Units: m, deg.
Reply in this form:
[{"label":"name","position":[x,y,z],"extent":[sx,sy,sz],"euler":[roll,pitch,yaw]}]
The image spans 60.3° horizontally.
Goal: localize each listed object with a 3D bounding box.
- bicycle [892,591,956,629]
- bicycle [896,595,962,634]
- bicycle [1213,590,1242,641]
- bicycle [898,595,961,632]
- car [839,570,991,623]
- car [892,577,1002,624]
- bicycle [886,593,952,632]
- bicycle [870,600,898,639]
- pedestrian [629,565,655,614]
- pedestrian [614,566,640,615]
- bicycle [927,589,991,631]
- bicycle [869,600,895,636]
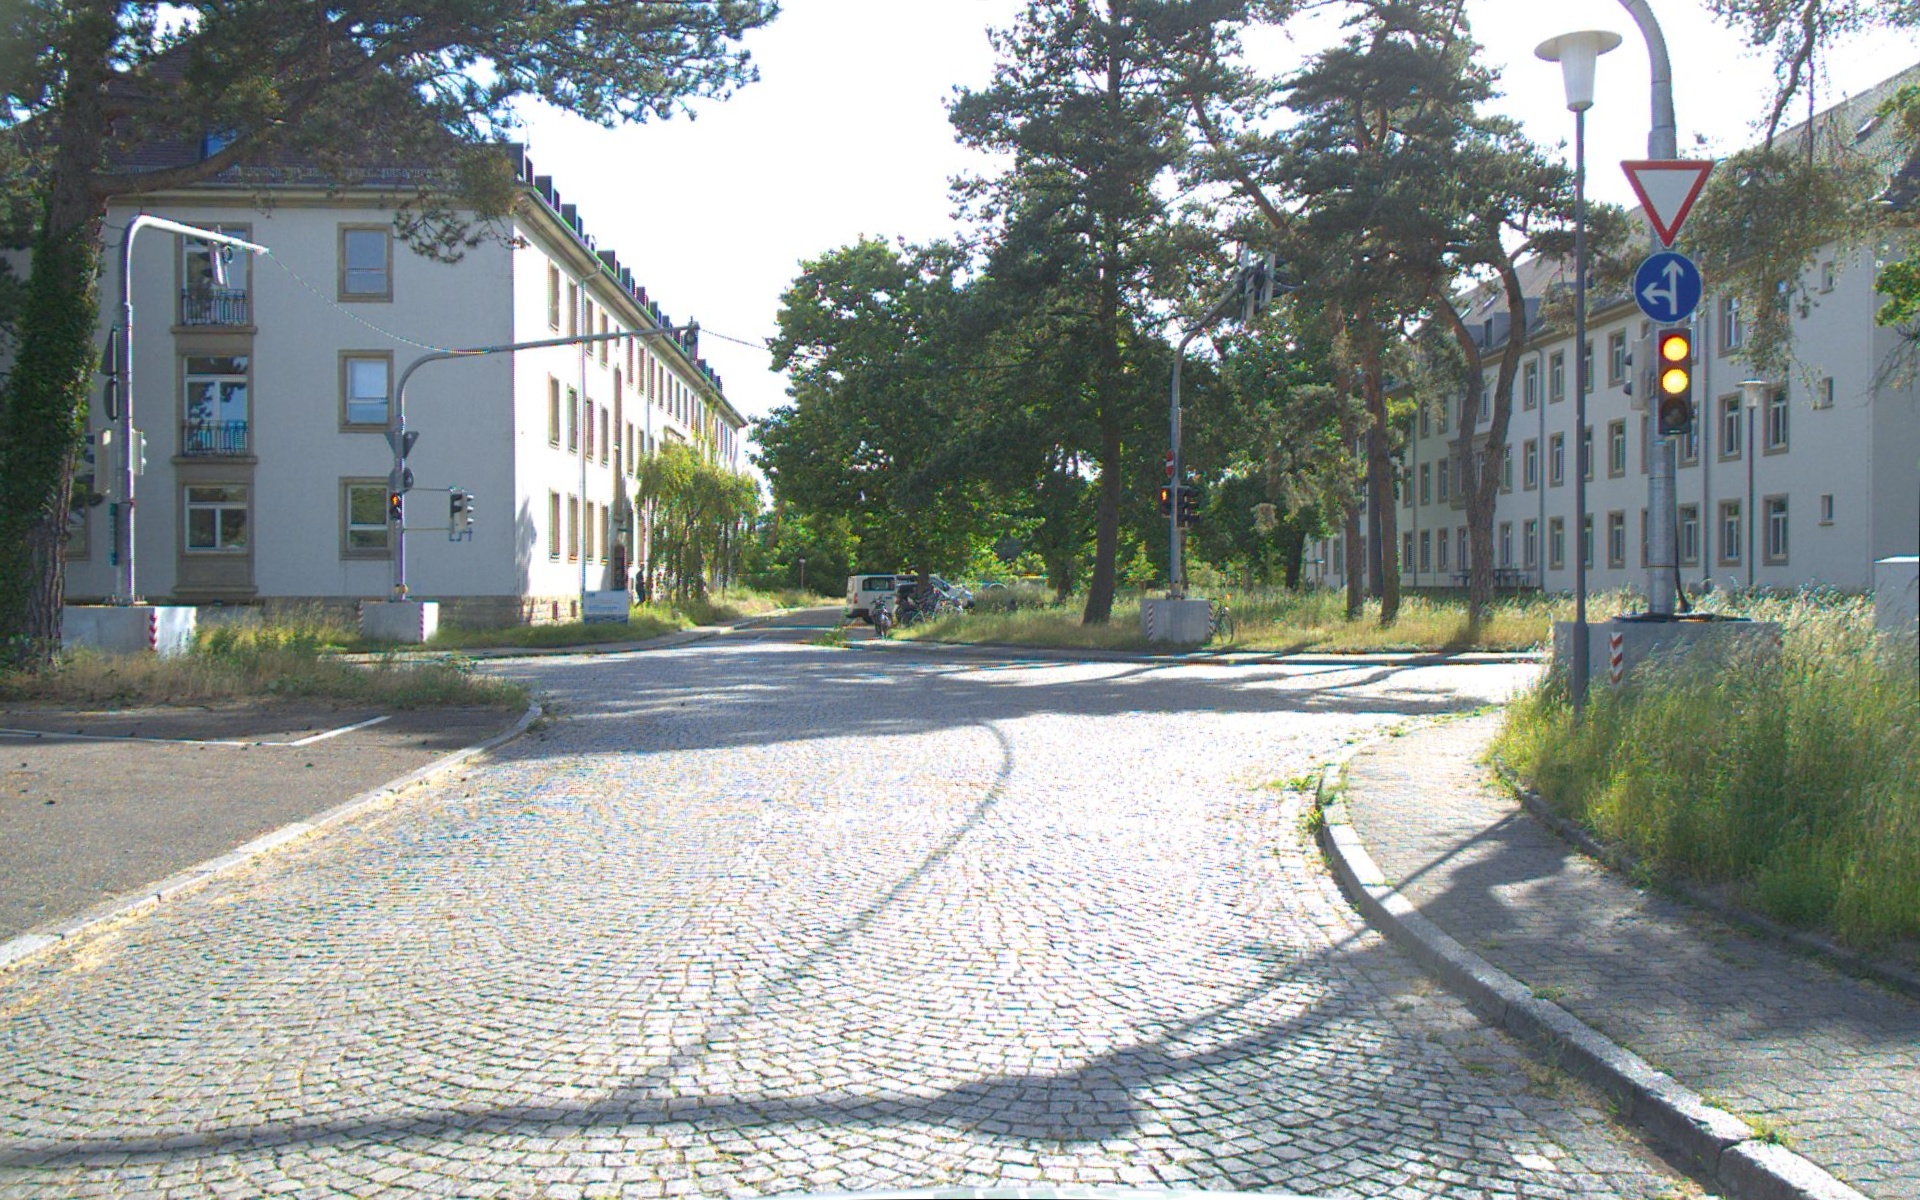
[{"label":"bicycle","position":[-1.123,0.309,51.362],"extent":[1.904,1.149,0.646],"euler":[0,0,-8]},{"label":"bicycle","position":[-0.918,0.421,49.064],"extent":[1.903,1.149,0.749],"euler":[0,0,-6]},{"label":"bicycle","position":[5.890,0.327,36.435],"extent":[0.456,1.099,1.174],"euler":[0,0,1]},{"label":"bicycle","position":[-0.894,0.383,48.266],"extent":[1.818,1.049,0.749],"euler":[0,0,-6]},{"label":"car","position":[-1.848,-0.154,66.253],"extent":[5.822,2.049,2.470],"euler":[0,0,-10]},{"label":"car","position":[-0.505,0.002,62.063],"extent":[3.915,1.713,1.843],"euler":[0,0,-10]},{"label":"bicycle","position":[-1.239,0.364,50.268],"extent":[1.920,1.149,0.641],"euler":[0,0,-30]},{"label":"bicycle","position":[-2.064,0.515,44.729],"extent":[0.682,0.988,1.859],"euler":[0,0,-4]},{"label":"pedestrian","position":[-11.958,-0.390,62.191],"extent":[0.794,1.849,0.555],"euler":[0,0,8]},{"label":"pedestrian","position":[-12.683,-0.358,63.004],"extent":[0.751,1.849,0.683],"euler":[0,0,8]},{"label":"bicycle","position":[-0.039,0.299,49.806],"extent":[1.903,1.257,0.485],"euler":[0,0,-6]},{"label":"bicycle","position":[-2.202,0.495,46.661],"extent":[0.682,0.988,1.859],"euler":[0,0,-4]}]
